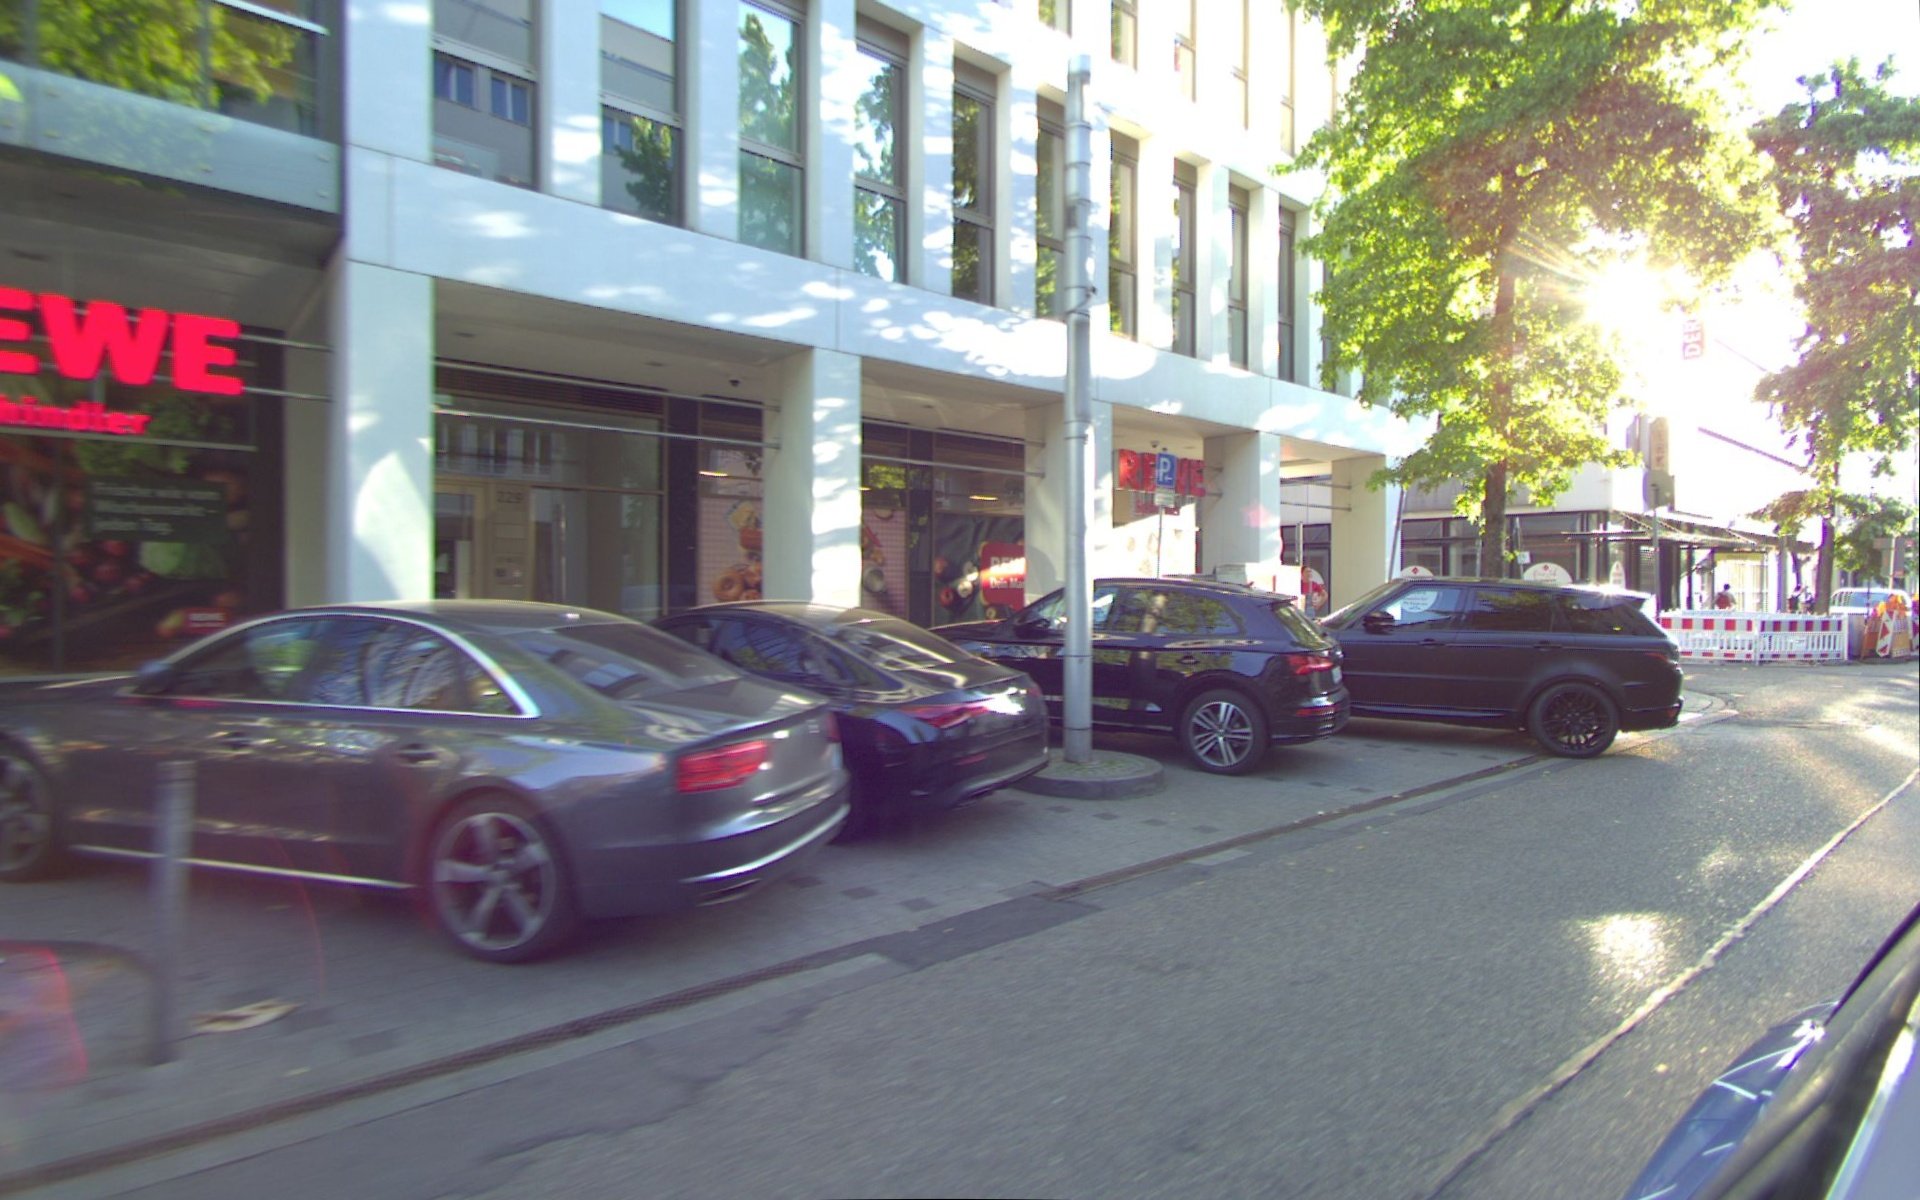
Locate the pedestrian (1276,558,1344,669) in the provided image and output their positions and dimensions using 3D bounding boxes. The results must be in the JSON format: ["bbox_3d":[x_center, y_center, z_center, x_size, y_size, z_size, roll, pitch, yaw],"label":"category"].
[{"bbox_3d":[5.943,0.211,17.236,0.786,1.840,0.758,0,3,-7],"label":"pedestrian"}]

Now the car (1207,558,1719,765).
[{"bbox_3d":[5.240,0.507,11.227,4.612,1.785,1.981,3,3,21],"label":"car"}]

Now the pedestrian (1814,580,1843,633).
[{"bbox_3d":[30.901,0.208,36.003,0.623,1.853,0.706,0,0,-40],"label":"pedestrian"}]

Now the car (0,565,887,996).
[{"bbox_3d":[-3.085,0.652,5.544,4.988,1.486,1.969,3,3,15],"label":"car"}]

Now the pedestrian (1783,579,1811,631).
[{"bbox_3d":[30.189,0.184,36.512,0.623,1.853,0.689,0,0,-40],"label":"pedestrian"}]

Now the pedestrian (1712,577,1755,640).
[{"bbox_3d":[24.305,0.244,31.796,0.901,1.921,0.836,0,1,-38],"label":"pedestrian"}]

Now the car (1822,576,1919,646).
[{"bbox_3d":[26.384,0.253,28.879,4.823,1.758,2.027,-1,3,-42],"label":"car"}]

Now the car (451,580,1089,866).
[{"bbox_3d":[-1.543,0.652,7.658,4.627,1.443,1.914,3,3,30],"label":"car"}]

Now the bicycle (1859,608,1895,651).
[{"bbox_3d":[23.077,0.726,25.460,1.897,0.994,0.493,-1,1,-42],"label":"bicycle"}]

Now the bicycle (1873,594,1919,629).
[{"bbox_3d":[34.220,0.415,36.423,0.824,1.148,1.820,-1,3,-32],"label":"bicycle"}]

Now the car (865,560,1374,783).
[{"bbox_3d":[1.550,0.514,10.114,4.622,1.675,1.990,3,2,27],"label":"car"}]
